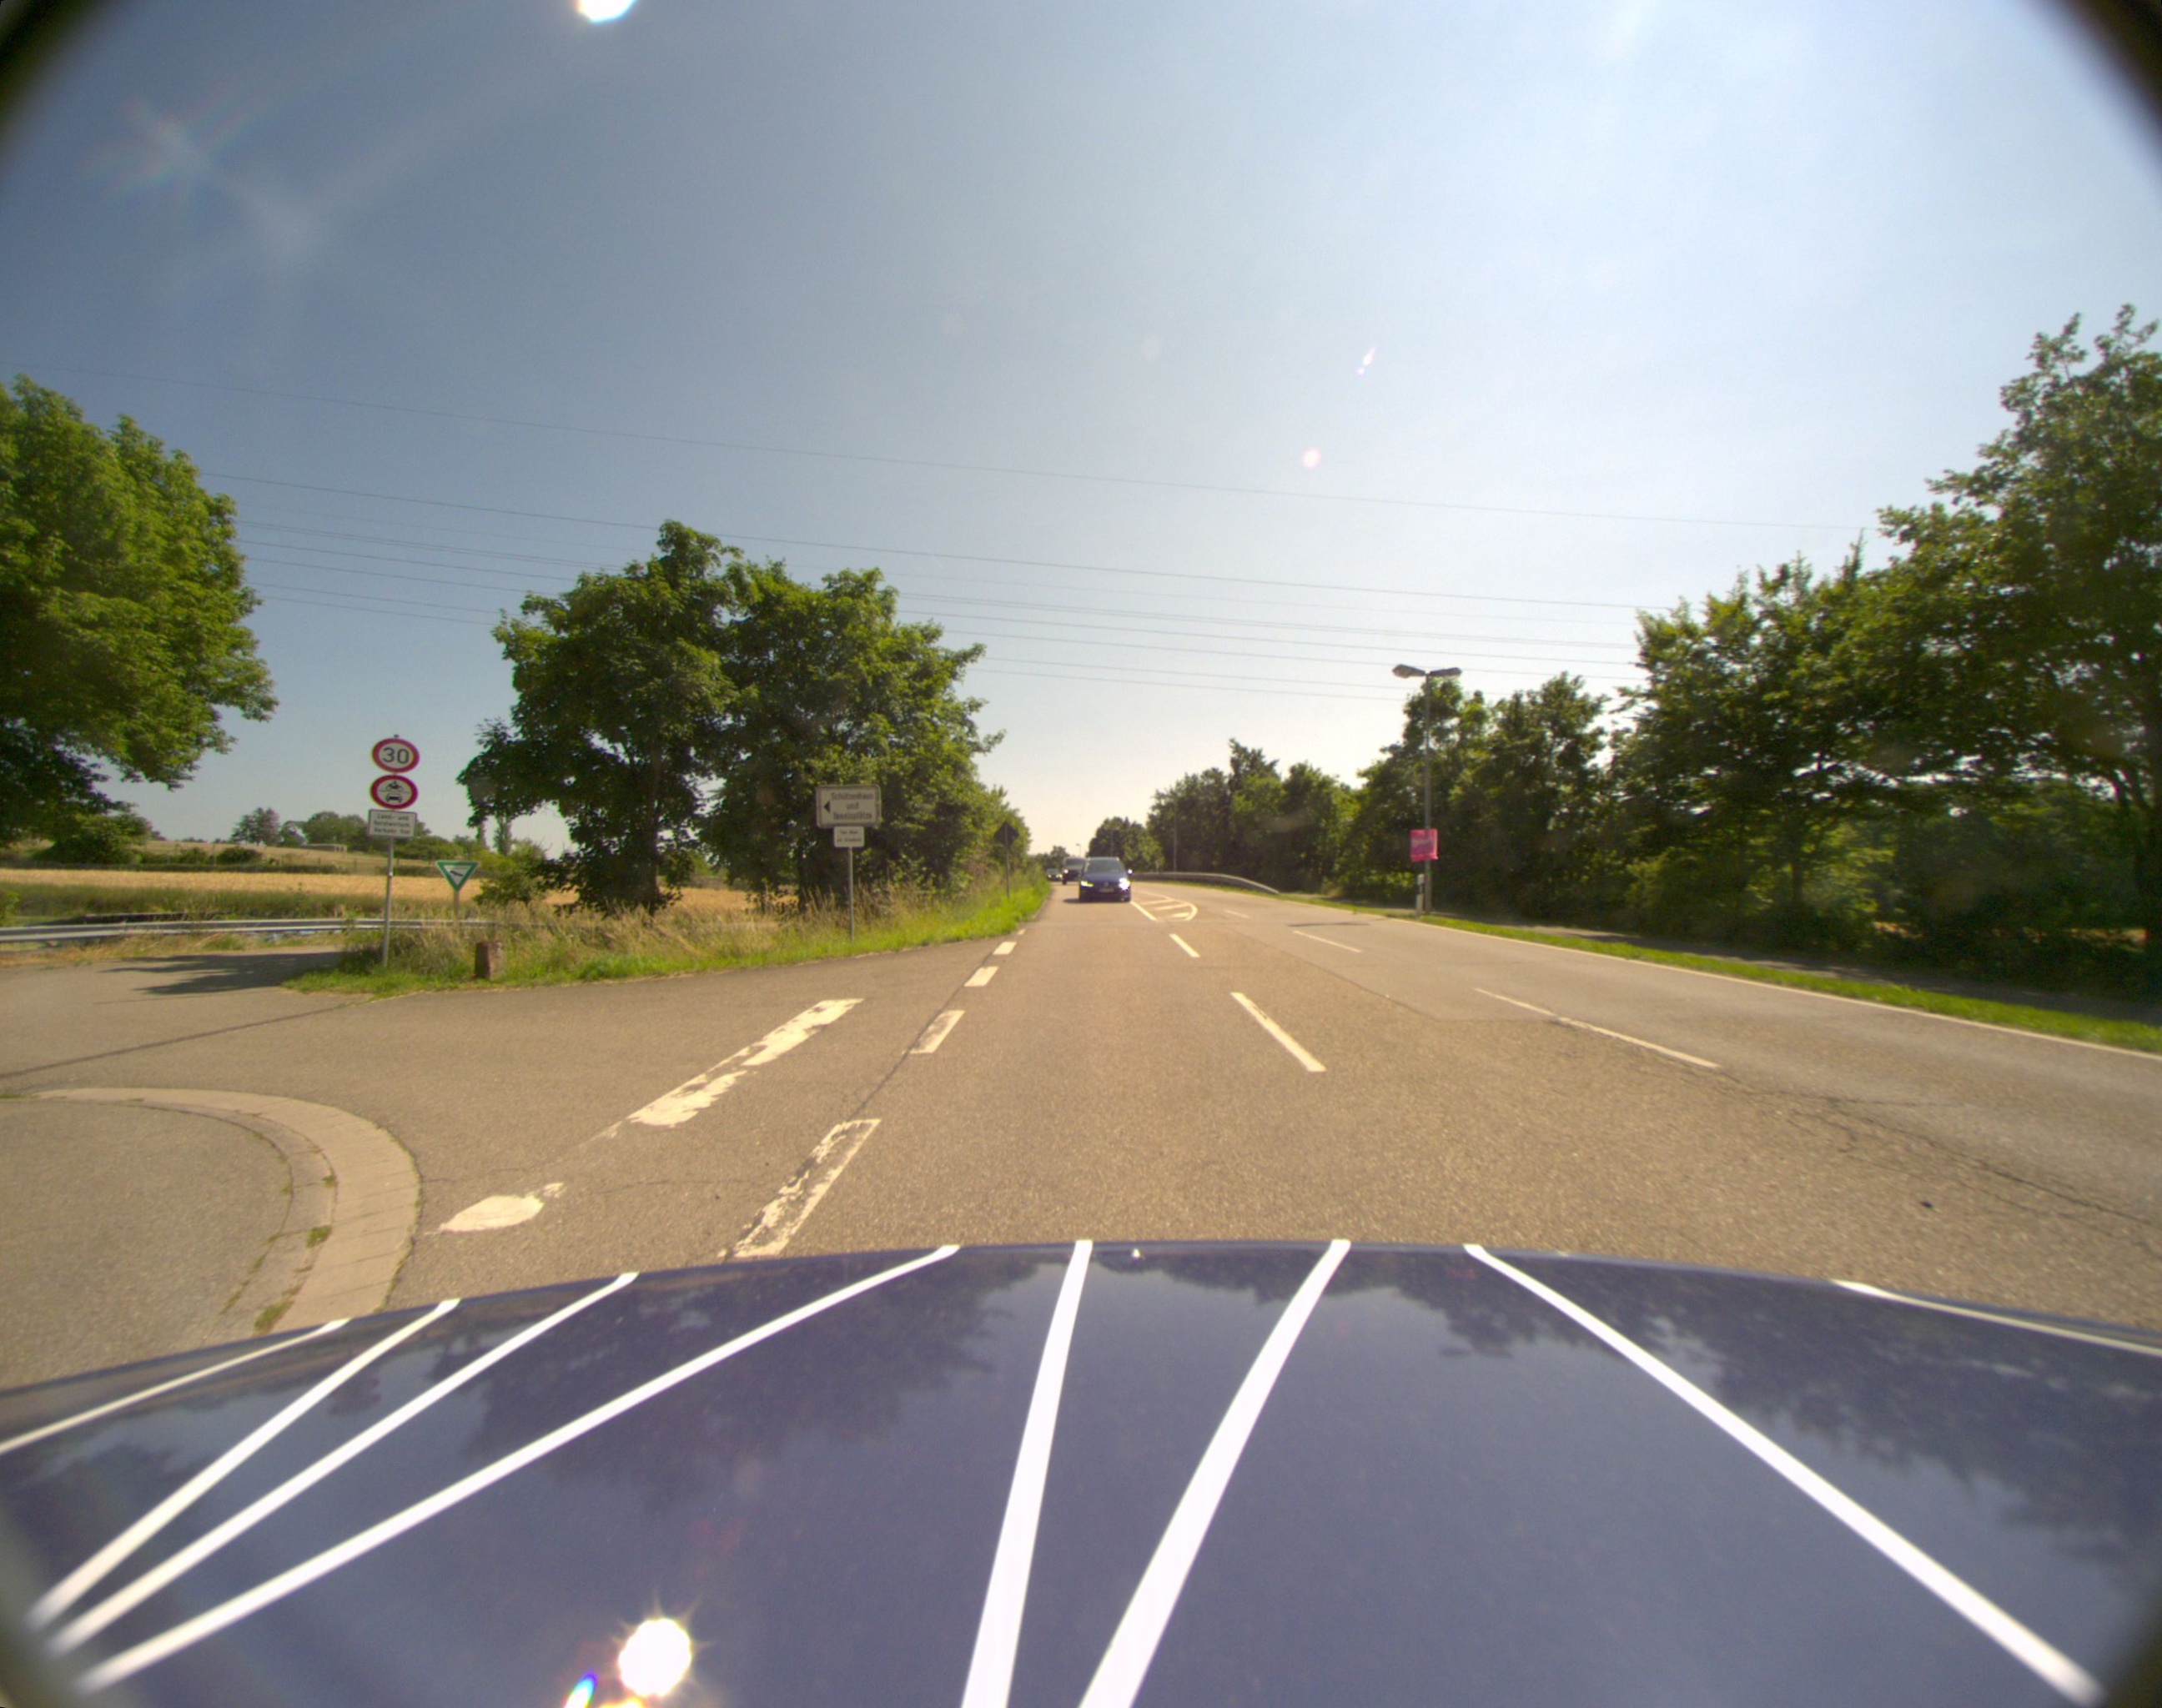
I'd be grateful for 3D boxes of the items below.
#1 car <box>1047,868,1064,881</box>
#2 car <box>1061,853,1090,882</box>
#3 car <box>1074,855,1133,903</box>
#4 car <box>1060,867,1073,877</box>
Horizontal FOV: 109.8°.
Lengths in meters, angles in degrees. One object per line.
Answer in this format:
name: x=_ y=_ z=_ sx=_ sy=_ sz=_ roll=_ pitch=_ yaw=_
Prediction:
car: x=-3.270 y=2.630 z=97.817 sx=1.765 sy=1.530 sz=3.682 roll=-2 pitch=0 yaw=-7
car: x=-0.415 y=1.005 z=54.419 sx=1.765 sy=1.953 sz=4.261 roll=-2 pitch=-1 yaw=-4
car: x=0.702 y=0.863 z=26.934 sx=1.765 sy=1.519 sz=4.423 roll=-2 pitch=-1 yaw=-2
car: x=-2.600 y=3.252 z=137.997 sx=1.830 sy=1.630 sz=4.138 roll=0 pitch=-1 yaw=-9
